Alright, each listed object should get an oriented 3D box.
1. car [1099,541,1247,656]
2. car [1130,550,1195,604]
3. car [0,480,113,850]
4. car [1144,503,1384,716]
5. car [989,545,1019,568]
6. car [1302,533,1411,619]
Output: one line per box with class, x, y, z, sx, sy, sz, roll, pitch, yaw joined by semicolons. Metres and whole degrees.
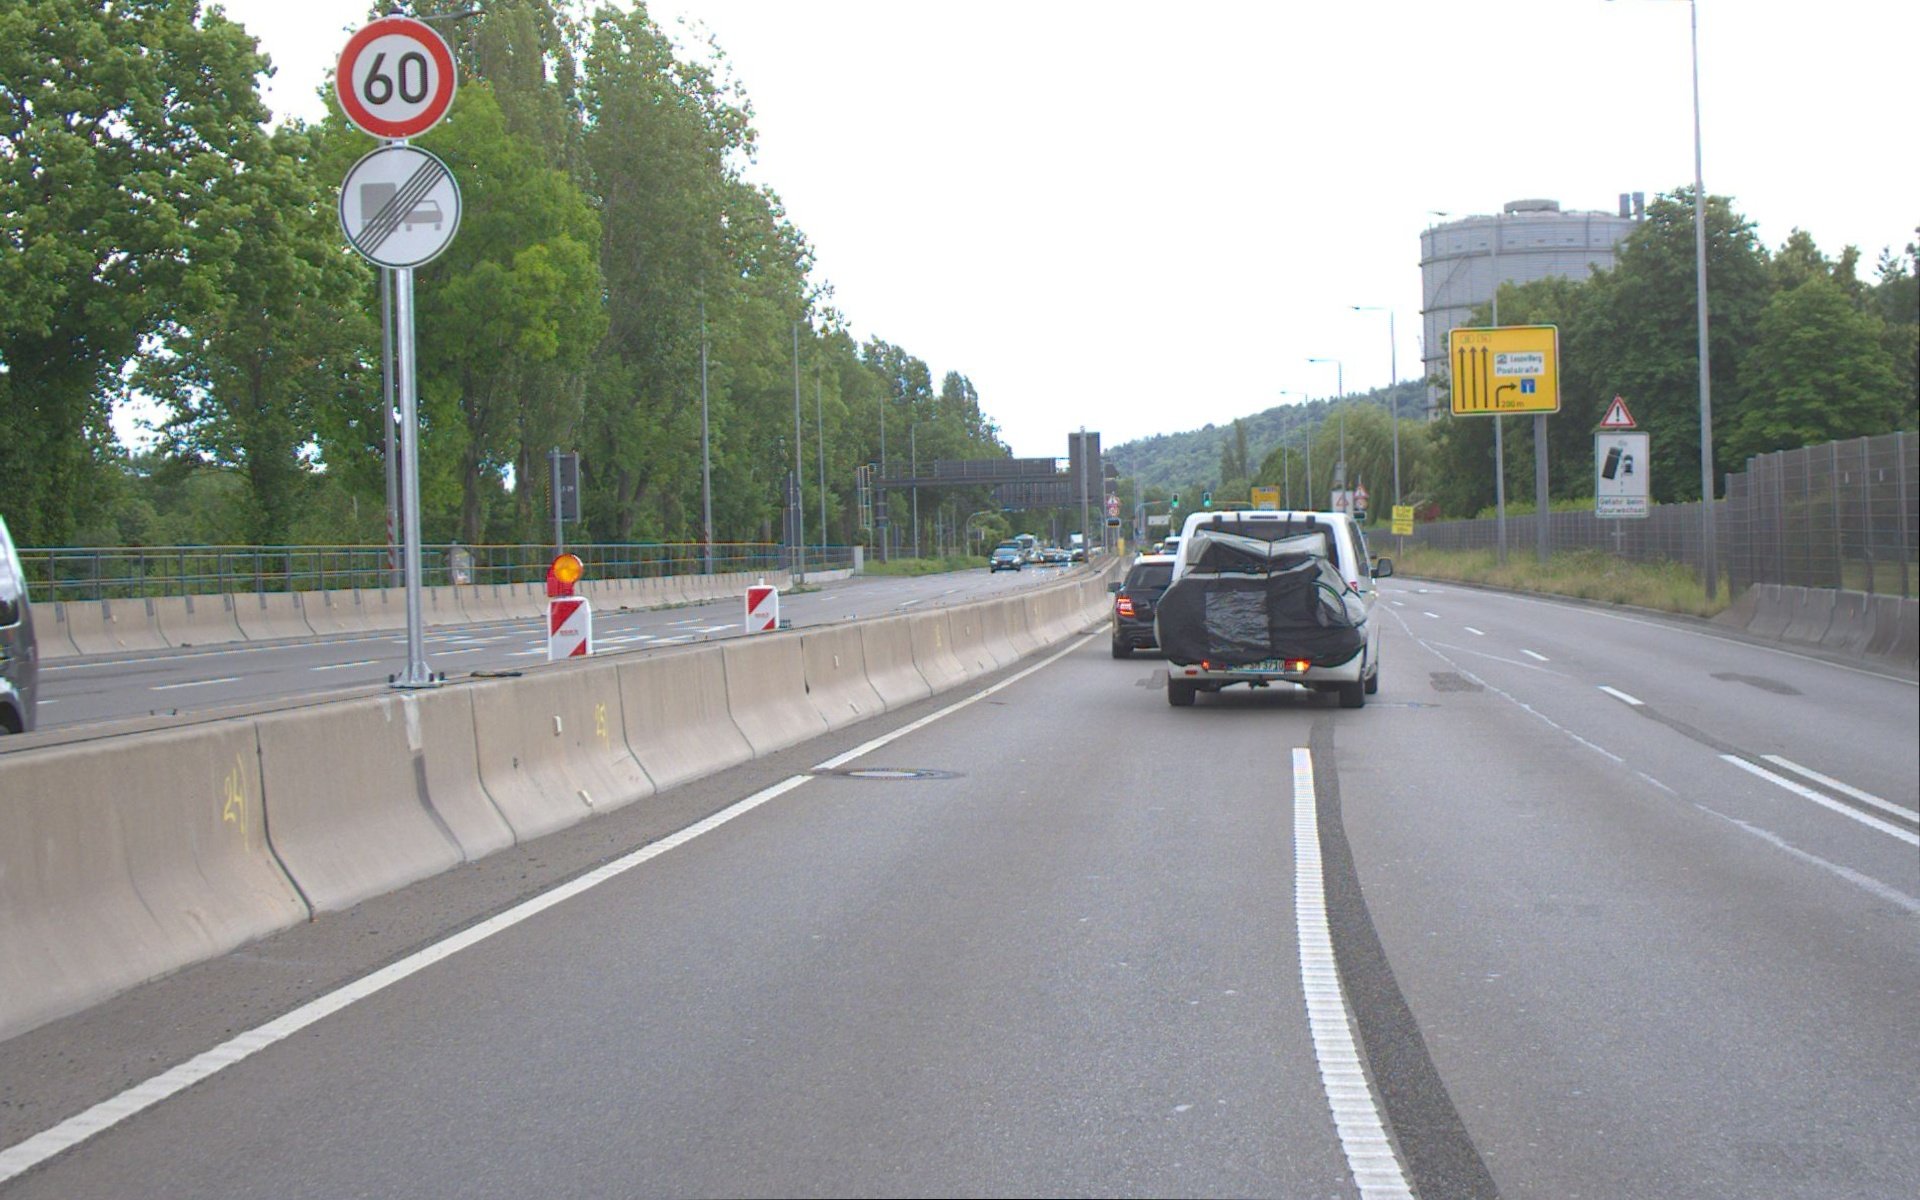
car;2.945;-0.053;46.881;1.815;1.429;4.064;-2;1;6
car;6.387;-0.716;108.637;1.994;1.667;3.999;1;0;3
car;-5.687;0.320;15.912;1.902;1.799;4.954;0;1;5
car;3.059;0.028;33.527;1.993;1.852;5.639;2;1;8
car;2.650;-2.601;206.207;1.733;1.369;3.617;0;1;1
car;8.949;-0.540;77.805;1.993;1.853;4.000;-1;0;0
